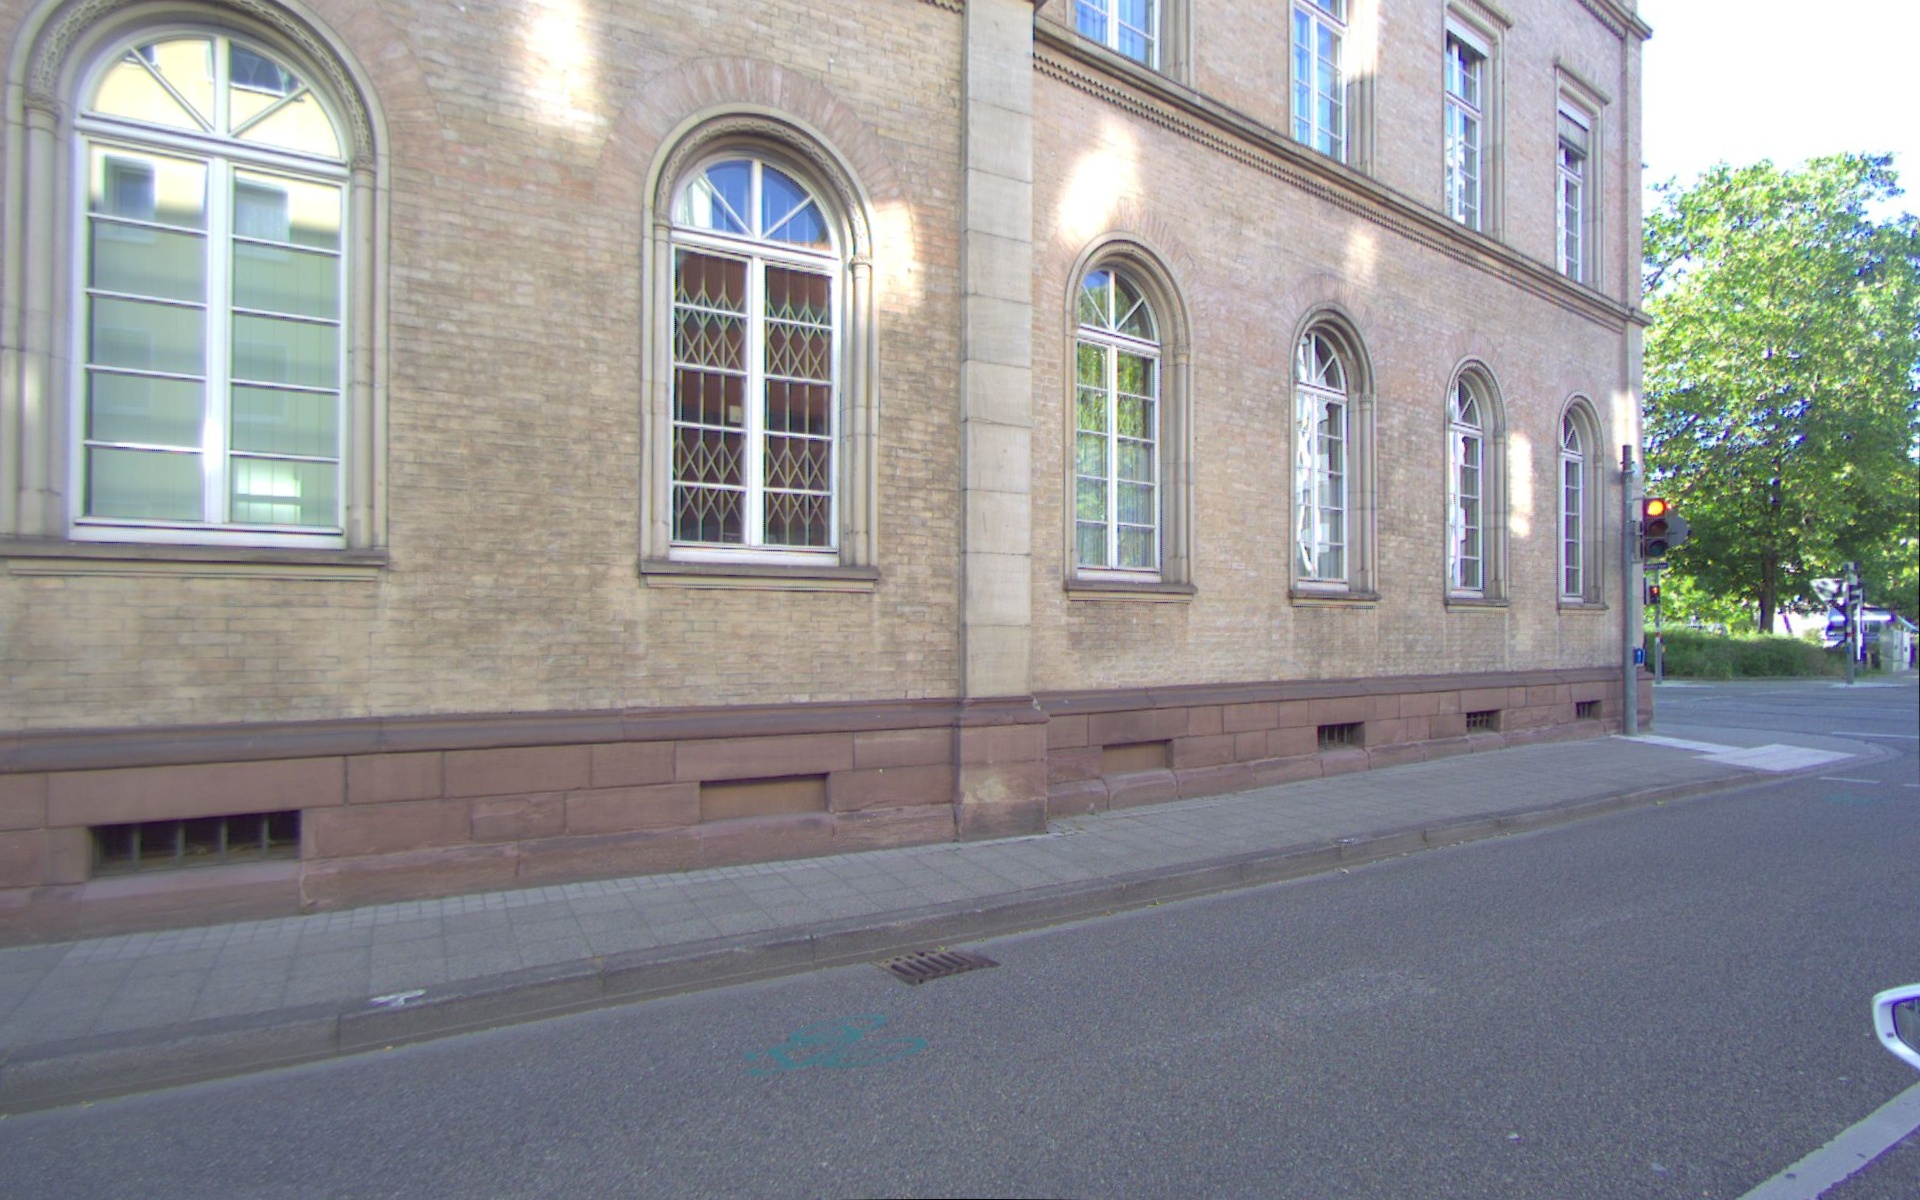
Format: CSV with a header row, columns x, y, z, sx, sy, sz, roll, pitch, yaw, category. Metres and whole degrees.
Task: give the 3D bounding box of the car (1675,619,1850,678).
x,y,z,sx,sy,sz,roll,pitch,yaw,category
26.340,1.547,33.108,1.888,1.801,4.193,1,-2,-37,car
